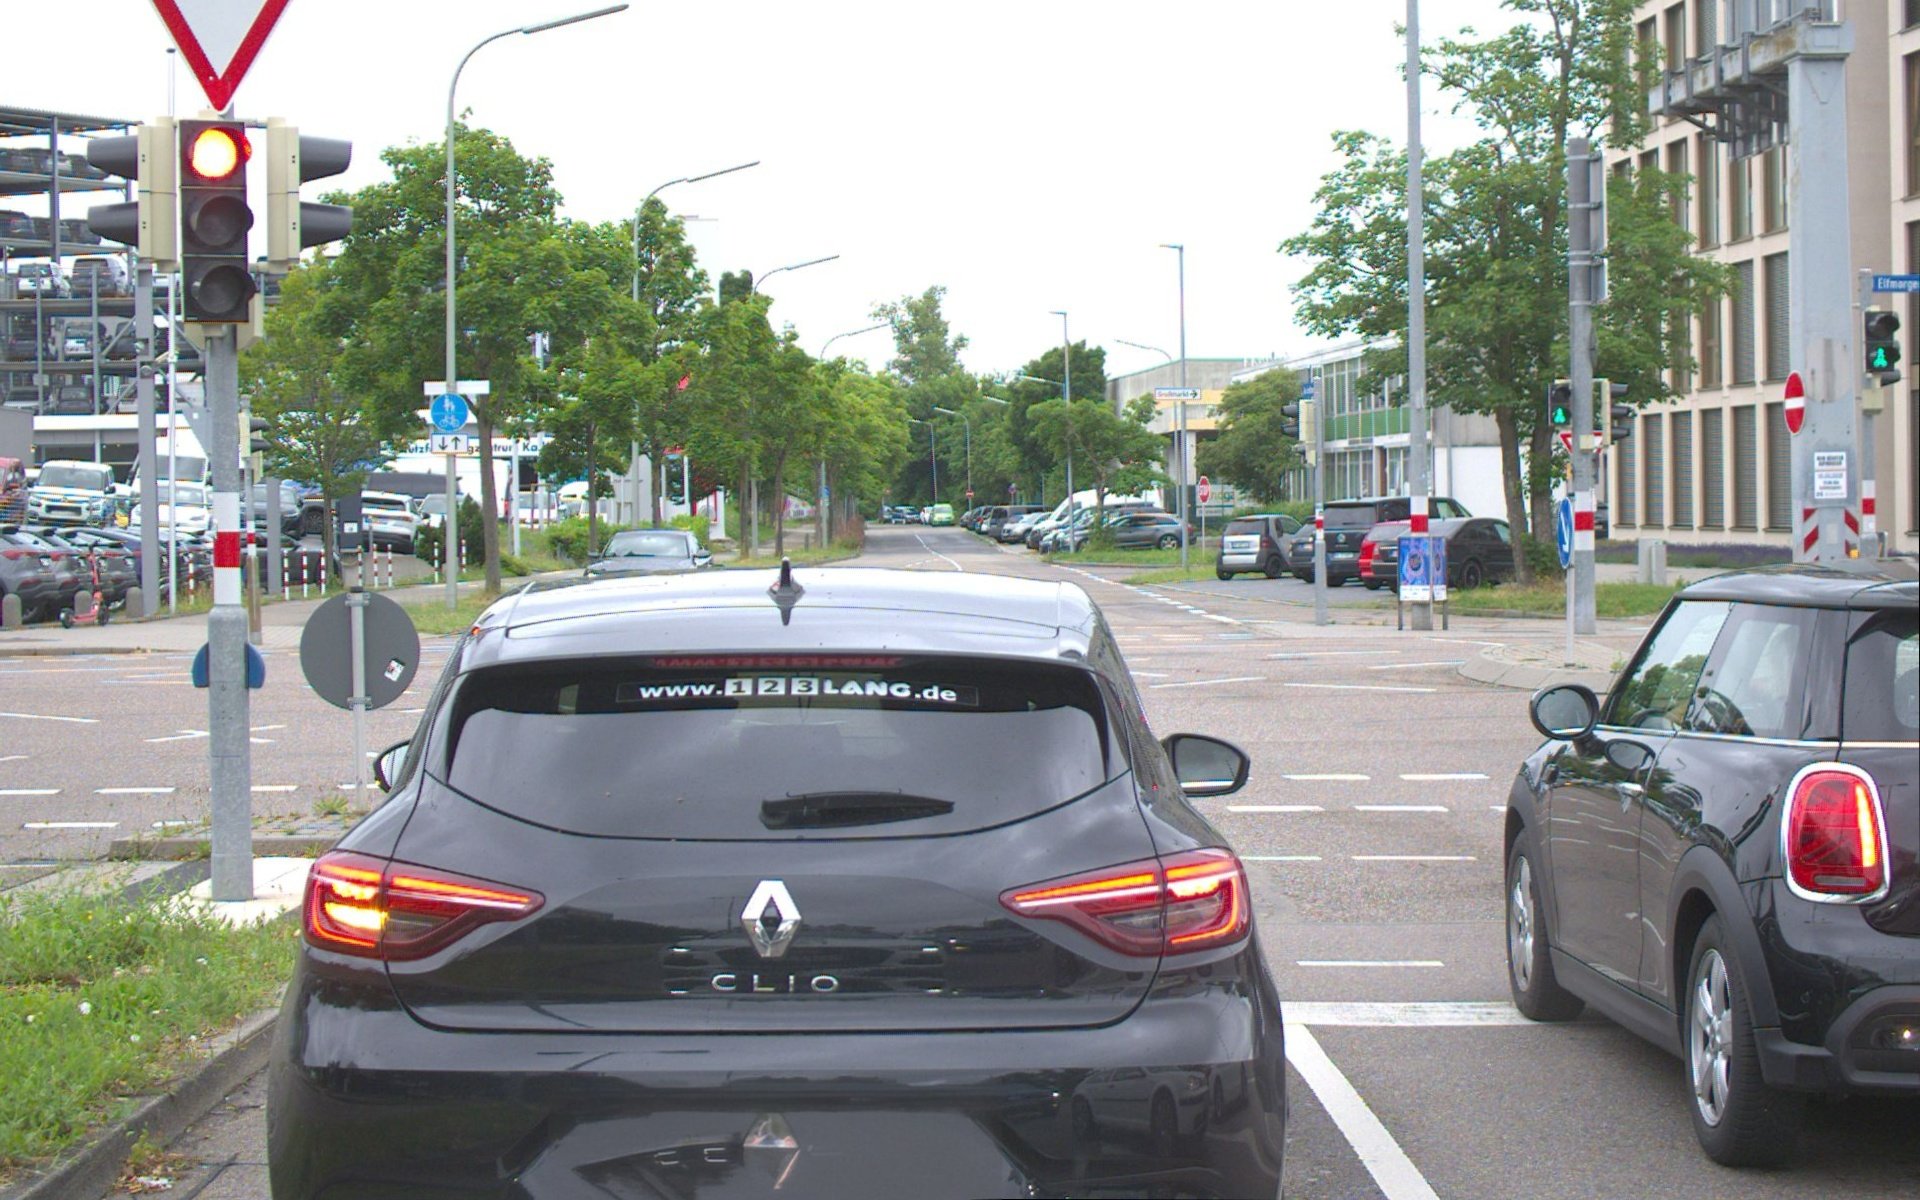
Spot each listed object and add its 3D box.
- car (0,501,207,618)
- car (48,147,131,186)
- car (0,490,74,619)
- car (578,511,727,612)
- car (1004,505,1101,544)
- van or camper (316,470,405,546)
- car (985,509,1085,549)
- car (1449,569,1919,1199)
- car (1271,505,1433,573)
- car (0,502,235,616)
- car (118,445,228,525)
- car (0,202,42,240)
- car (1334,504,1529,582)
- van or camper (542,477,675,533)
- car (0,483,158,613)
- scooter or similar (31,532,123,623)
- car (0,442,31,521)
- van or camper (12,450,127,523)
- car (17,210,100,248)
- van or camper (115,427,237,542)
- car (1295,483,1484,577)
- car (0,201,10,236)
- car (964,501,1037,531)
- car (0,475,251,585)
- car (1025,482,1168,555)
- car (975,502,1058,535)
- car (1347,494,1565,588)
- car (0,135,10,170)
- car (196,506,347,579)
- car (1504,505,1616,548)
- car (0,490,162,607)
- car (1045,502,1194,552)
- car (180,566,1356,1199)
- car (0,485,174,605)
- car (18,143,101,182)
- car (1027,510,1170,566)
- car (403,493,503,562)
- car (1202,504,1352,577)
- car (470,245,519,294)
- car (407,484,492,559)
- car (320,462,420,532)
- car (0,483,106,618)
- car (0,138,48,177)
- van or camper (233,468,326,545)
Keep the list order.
[{"bbox_3d":[-16.790,-0.737,64.487,4.892,2.007,2.000,-3,1,-5],"label":"car"},{"bbox_3d":[-45.968,-22.882,181.533,3.994,1.661,1.997,1,2,32],"label":"car"},{"bbox_3d":[-15.774,-0.586,50.972,4.771,1.856,2.000,-3,1,-5],"label":"car"},{"bbox_3d":[-4.991,-0.659,56.307,1.978,1.546,4.614,-1,2,0],"label":"car"},{"bbox_3d":[4.687,-3.831,175.555,4.785,1.885,2.144,1,0,-2],"label":"car"},{"bbox_3d":[-16.505,-2.524,94.849,1.993,2.007,4.001,1,1,-4],"label":"van or camper"},{"bbox_3d":[3.971,-3.759,182.156,5.173,2.007,2.144,1,0,-1],"label":"car"},{"bbox_3d":[2.490,0.634,9.258,1.786,1.411,3.643,1,0,0],"label":"car"},{"bbox_3d":[8.871,-1.379,77.636,1.696,1.506,3.808,0,1,43],"label":"car"},{"bbox_3d":[-16.822,-0.795,67.207,4.892,2.007,2.000,-3,1,-5],"label":"car"},{"bbox_3d":[-19.074,-2.774,83.428,1.993,1.817,4.001,1,1,-4],"label":"car"},{"bbox_3d":[-49.180,-19.395,176.112,3.994,1.661,1.997,1,2,32],"label":"car"},{"bbox_3d":[9.758,-1.178,71.034,1.887,1.546,4.123,0,1,45],"label":"car"},{"bbox_3d":[-15.396,-4.167,150.779,5.598,2.363,2.000,1,0,-1],"label":"van or camper"},{"bbox_3d":[-15.963,-0.784,56.548,5.022,2.007,2.266,-3,1,-5],"label":"car"},{"bbox_3d":[-12.343,-0.328,48.090,0.557,1.214,1.559,2,2,13],"label":"scooter or similar"},{"bbox_3d":[-23.996,-2.877,83.539,1.993,1.842,4.001,1,1,-4],"label":"car"},{"bbox_3d":[-21.541,-2.724,83.302,1.993,1.645,4.001,1,1,-4],"label":"van or camper"},{"bbox_3d":[-47.046,-19.354,179.464,3.994,1.661,1.997,1,2,32],"label":"car"},{"bbox_3d":[-21.552,-3.135,94.659,2.535,3.016,4.844,1,1,-4],"label":"van or camper"},{"bbox_3d":[9.301,-1.501,74.231,1.998,1.959,4.235,0,1,41],"label":"car"},{"bbox_3d":[-50.274,-19.310,174.155,3.994,1.661,1.997,1,2,32],"label":"car"},{"bbox_3d":[2.701,-5.626,229.851,4.785,1.885,2.144,1,0,-2],"label":"car"},{"bbox_3d":[-17.086,-1.416,70.031,4.892,2.007,2.000,-3,1,-5],"label":"car"},{"bbox_3d":[6.008,-3.562,151.565,6.116,3.105,2.134,1,0,-1],"label":"car"},{"bbox_3d":[3.605,-5.193,218.546,5.173,2.007,2.144,1,0,-1],"label":"car"},{"bbox_3d":[9.639,-1.144,66.646,4.121,1.762,1.888,-1,1,-40],"label":"car"},{"bbox_3d":[-50.294,-22.656,174.128,3.994,1.661,1.997,1,2,32],"label":"car"},{"bbox_3d":[-19.788,-1.649,98.908,3.986,2.007,2.000,1,0,-3],"label":"car"},{"bbox_3d":[19.344,-2.371,110.893,3.229,1.328,1.486,1,1,-19],"label":"car"},{"bbox_3d":[-16.415,-0.828,59.176,4.945,1.870,2.054,-3,1,-6],"label":"car"},{"bbox_3d":[5.714,-2.618,123.719,5.173,1.714,2.144,1,0,-2],"label":"car"},{"bbox_3d":[-0.314,0.657,7.175,1.757,1.430,4.000,1,1,-1],"label":"car"},{"bbox_3d":[-16.695,-0.942,61.667,4.772,2.007,2.000,-3,1,-6],"label":"car"},{"bbox_3d":[-47.064,-22.830,179.589,3.994,1.661,1.997,1,2,32],"label":"car"},{"bbox_3d":[5.190,-2.301,128.969,5.173,2.007,2.144,1,0,-2],"label":"car"},{"bbox_3d":[-12.380,-1.749,84.162,1.993,1.612,4.000,1,1,-2],"label":"car"},{"bbox_3d":[7.758,-1.445,83.948,3.424,1.726,1.765,0,1,-42],"label":"car"},{"bbox_3d":[-21.482,-15.224,158.666,1.993,1.876,4.001,-1,1,-5],"label":"car"},{"bbox_3d":[-14.094,-2.141,95.060,1.993,2.007,4.001,1,1,-4],"label":"car"},{"bbox_3d":[-14.332,-2.486,83.736,1.993,1.612,4.001,1,1,-4],"label":"car"},{"bbox_3d":[-15.908,-0.692,53.541,4.700,2.007,2.000,-3,1,-4],"label":"car"},{"bbox_3d":[-48.904,-22.654,176.238,3.994,1.661,1.997,1,2,32],"label":"car"},{"bbox_3d":[-18.704,-2.552,94.657,1.993,2.007,4.001,1,1,-4],"label":"van or camper"}]
